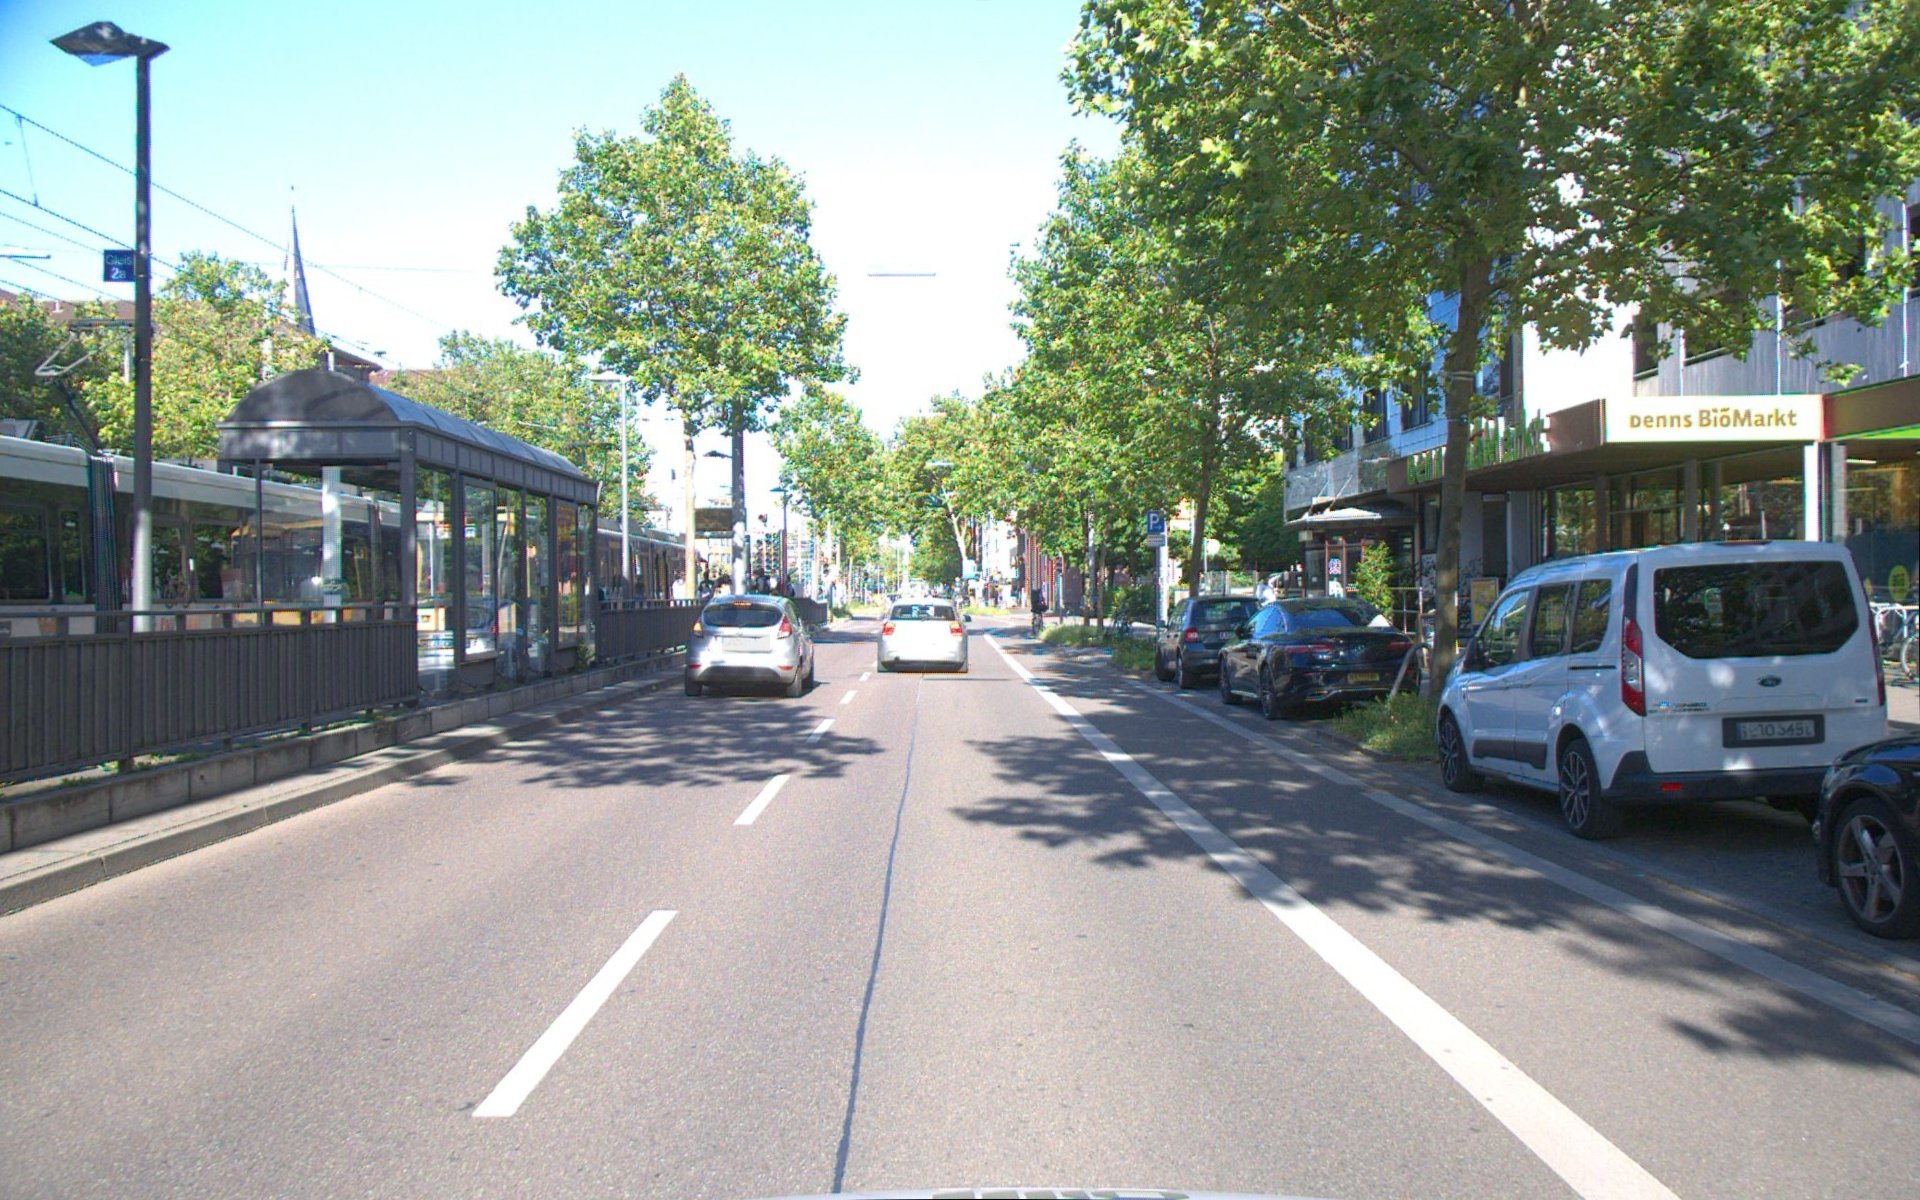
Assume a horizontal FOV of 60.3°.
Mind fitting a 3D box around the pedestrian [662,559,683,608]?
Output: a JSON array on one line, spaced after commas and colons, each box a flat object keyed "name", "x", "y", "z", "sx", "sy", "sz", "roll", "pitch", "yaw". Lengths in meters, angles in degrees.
[{"name": "pedestrian", "x": -9.067, "y": -0.522, "z": 52.149, "sx": 0.534, "sy": 1.545, "sz": 0.531, "roll": -1, "pitch": 0, "yaw": -1}]

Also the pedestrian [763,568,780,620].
[{"name": "pedestrian", "x": -6.501, "y": -0.208, "z": 56.910, "sx": 0.537, "sy": 1.764, "sz": 0.539, "roll": -1, "pitch": 0, "yaw": -9}]

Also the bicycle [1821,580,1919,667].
[{"name": "bicycle", "x": 12.457, "y": 0.303, "z": 22.066, "sx": 1.666, "sy": 1.073, "sz": 0.585, "roll": -3, "pitch": 3, "yaw": 26}]

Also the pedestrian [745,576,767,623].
[{"name": "pedestrian", "x": -5.632, "y": -0.024, "z": 45.678, "sx": 0.523, "sy": 1.268, "sz": 0.604, "roll": -1, "pitch": 0, "yaw": -3}]

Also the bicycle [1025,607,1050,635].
[{"name": "bicycle", "x": 3.076, "y": 0.814, "z": 65.537, "sx": 0.814, "sy": 1.059, "sz": 1.876, "roll": -1, "pitch": 0, "yaw": 8}]

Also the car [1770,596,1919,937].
[{"name": "car", "x": 4.963, "y": 0.706, "z": 6.137, "sx": 1.694, "sy": 1.427, "sz": 4.294, "roll": -2, "pitch": 0, "yaw": -1}]

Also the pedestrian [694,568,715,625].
[{"name": "pedestrian", "x": -7.882, "y": -0.109, "z": 51.029, "sx": 0.597, "sy": 1.732, "sz": 0.545, "roll": -1, "pitch": 0, "yaw": -5}]

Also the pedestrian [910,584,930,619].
[{"name": "pedestrian", "x": -1.842, "y": 0.055, "z": 76.776, "sx": 0.812, "sy": 1.603, "sz": 0.739, "roll": 0, "pitch": 0, "yaw": 7}]

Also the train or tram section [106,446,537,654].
[{"name": "train or tram section", "x": -13.180, "y": -0.921, "z": 37.221, "sx": 2.791, "sy": 3.494, "sz": 18.212, "roll": 1, "pitch": 0, "yaw": -1}]

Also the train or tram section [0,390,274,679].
[{"name": "train or tram section", "x": -12.993, "y": -0.796, "z": 18.958, "sx": 2.812, "sy": 3.494, "sz": 18.273, "roll": 1, "pitch": 0, "yaw": -1}]

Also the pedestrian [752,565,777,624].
[{"name": "pedestrian", "x": -5.813, "y": -0.169, "z": 49.089, "sx": 0.647, "sy": 1.726, "sz": 0.571, "roll": -1, "pitch": 0, "yaw": 0}]

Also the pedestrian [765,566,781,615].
[{"name": "pedestrian", "x": -6.758, "y": -0.339, "z": 59.809, "sx": 0.537, "sy": 1.764, "sz": 0.539, "roll": -1, "pitch": 0, "yaw": -5}]

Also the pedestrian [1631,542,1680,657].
[{"name": "pedestrian", "x": 10.922, "y": -0.016, "z": 25.987, "sx": 0.599, "sy": 1.745, "sz": 0.613, "roll": -3, "pitch": 2, "yaw": 20}]

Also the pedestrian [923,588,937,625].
[{"name": "pedestrian", "x": -1.364, "y": 0.305, "z": 75.573, "sx": 0.626, "sy": 1.648, "sz": 0.641, "roll": -1, "pitch": -2, "yaw": -2}]

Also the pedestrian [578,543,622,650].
[{"name": "pedestrian", "x": -5.696, "y": -0.057, "z": 26.196, "sx": 0.555, "sy": 1.668, "sz": 0.621, "roll": 0, "pitch": 0, "yaw": 1}]

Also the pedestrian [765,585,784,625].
[{"name": "pedestrian", "x": -5.728, "y": 0.146, "z": 51.121, "sx": 0.534, "sy": 1.213, "sz": 0.531, "roll": -1, "pitch": 0, "yaw": -1}]

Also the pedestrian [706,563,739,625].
[{"name": "pedestrian", "x": -6.054, "y": -0.155, "z": 42.206, "sx": 0.760, "sy": 1.536, "sz": 0.751, "roll": -1, "pitch": 0, "yaw": -5}]

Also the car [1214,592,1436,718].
[{"name": "car", "x": 4.557, "y": 0.622, "z": 21.366, "sx": 1.726, "sy": 1.443, "sz": 4.699, "roll": 0, "pitch": 0, "yaw": -1}]

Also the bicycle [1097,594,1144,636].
[{"name": "bicycle", "x": 4.546, "y": 0.403, "z": 47.047, "sx": 0.774, "sy": 1.153, "sz": 1.840, "roll": -1, "pitch": 0, "yaw": -13}]

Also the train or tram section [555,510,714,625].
[{"name": "train or tram section", "x": -10.543, "y": -0.882, "z": 55.262, "sx": 2.855, "sy": 3.317, "sz": 13.109, "roll": 1, "pitch": -1, "yaw": -1}]

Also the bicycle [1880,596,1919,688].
[{"name": "bicycle", "x": 12.118, "y": 0.486, "z": 20.008, "sx": 1.666, "sy": 1.073, "sz": 0.585, "roll": -3, "pitch": 1, "yaw": 26}]

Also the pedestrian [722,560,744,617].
[{"name": "pedestrian", "x": -7.015, "y": -0.364, "z": 51.193, "sx": 0.620, "sy": 1.732, "sz": 0.746, "roll": -1, "pitch": 0, "yaw": -5}]

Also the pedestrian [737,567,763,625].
[{"name": "pedestrian", "x": -6.138, "y": -0.126, "z": 48.373, "sx": 0.647, "sy": 1.662, "sz": 0.571, "roll": -1, "pitch": 0, "yaw": 0}]

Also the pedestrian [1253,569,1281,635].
[{"name": "pedestrian", "x": 8.402, "y": 0.039, "z": 45.217, "sx": 0.548, "sy": 1.775, "sz": 0.878, "roll": -1, "pitch": 0, "yaw": -1}]

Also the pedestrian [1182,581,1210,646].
[{"name": "pedestrian", "x": 6.417, "y": 0.351, "z": 44.997, "sx": 0.548, "sy": 1.734, "sz": 1.052, "roll": -1, "pitch": 0, "yaw": -1}]

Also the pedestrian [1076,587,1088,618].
[{"name": "pedestrian", "x": 6.563, "y": 0.143, "z": 89.014, "sx": 0.613, "sy": 1.657, "sz": 0.944, "roll": 0, "pitch": 0, "yaw": 7}]

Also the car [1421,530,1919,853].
[{"name": "car", "x": 4.787, "y": 0.504, "z": 11.773, "sx": 1.728, "sy": 1.823, "sz": 4.393, "roll": -1, "pitch": 1, "yaw": 0}]

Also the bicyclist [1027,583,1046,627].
[{"name": "bicyclist", "x": 3.048, "y": 0.191, "z": 65.516, "sx": 0.644, "sy": 1.686, "sz": 0.765, "roll": -1, "pitch": 0, "yaw": 8}]

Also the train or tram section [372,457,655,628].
[{"name": "train or tram section", "x": -10.323, "y": -1.046, "z": 40.792, "sx": 2.855, "sy": 3.317, "sz": 15.889, "roll": 1, "pitch": -1, "yaw": -1}]

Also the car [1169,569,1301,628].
[{"name": "car", "x": 10.779, "y": -0.073, "z": 65.016, "sx": 4.798, "sy": 2.019, "sz": 1.913, "roll": -3, "pitch": 0, "yaw": -1}]

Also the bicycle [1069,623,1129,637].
[{"name": "bicycle", "x": 4.002, "y": 0.864, "z": 47.750, "sx": 1.576, "sy": 0.359, "sz": 1.389, "roll": -1, "pitch": 0, "yaw": -1}]

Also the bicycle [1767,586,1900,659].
[{"name": "bicycle", "x": 12.400, "y": 0.327, "z": 23.523, "sx": 1.614, "sy": 0.932, "sz": 0.585, "roll": -3, "pitch": 3, "yaw": 26}]

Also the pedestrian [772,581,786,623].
[{"name": "pedestrian", "x": -5.717, "y": 0.060, "z": 52.237, "sx": 0.407, "sy": 1.339, "sz": 0.507, "roll": -1, "pitch": 0, "yaw": -3}]

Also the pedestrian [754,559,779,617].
[{"name": "pedestrian", "x": -5.882, "y": -0.366, "z": 50.309, "sx": 0.647, "sy": 1.726, "sz": 0.571, "roll": -1, "pitch": 0, "yaw": 0}]

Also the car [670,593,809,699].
[{"name": "car", "x": -3.173, "y": 0.627, "z": 24.366, "sx": 1.627, "sy": 1.434, "sz": 3.631, "roll": 1, "pitch": 0, "yaw": -1}]

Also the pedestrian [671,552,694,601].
[{"name": "pedestrian", "x": -7.721, "y": -0.648, "z": 46.028, "sx": 0.523, "sy": 1.322, "sz": 0.604, "roll": -1, "pitch": 0, "yaw": -4}]

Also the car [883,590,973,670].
[{"name": "car", "x": -0.649, "y": 0.556, "z": 33.166, "sx": 1.695, "sy": 1.414, "sz": 3.839, "roll": 1, "pitch": 1, "yaw": -2}]

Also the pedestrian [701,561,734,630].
[{"name": "pedestrian", "x": -6.377, "y": -0.109, "z": 43.531, "sx": 0.760, "sy": 1.783, "sz": 0.722, "roll": -1, "pitch": 0, "yaw": -5}]

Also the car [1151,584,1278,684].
[{"name": "car", "x": 4.285, "y": 0.534, "z": 28.303, "sx": 1.533, "sy": 1.577, "sz": 4.000, "roll": 0, "pitch": 0, "yaw": 0}]
